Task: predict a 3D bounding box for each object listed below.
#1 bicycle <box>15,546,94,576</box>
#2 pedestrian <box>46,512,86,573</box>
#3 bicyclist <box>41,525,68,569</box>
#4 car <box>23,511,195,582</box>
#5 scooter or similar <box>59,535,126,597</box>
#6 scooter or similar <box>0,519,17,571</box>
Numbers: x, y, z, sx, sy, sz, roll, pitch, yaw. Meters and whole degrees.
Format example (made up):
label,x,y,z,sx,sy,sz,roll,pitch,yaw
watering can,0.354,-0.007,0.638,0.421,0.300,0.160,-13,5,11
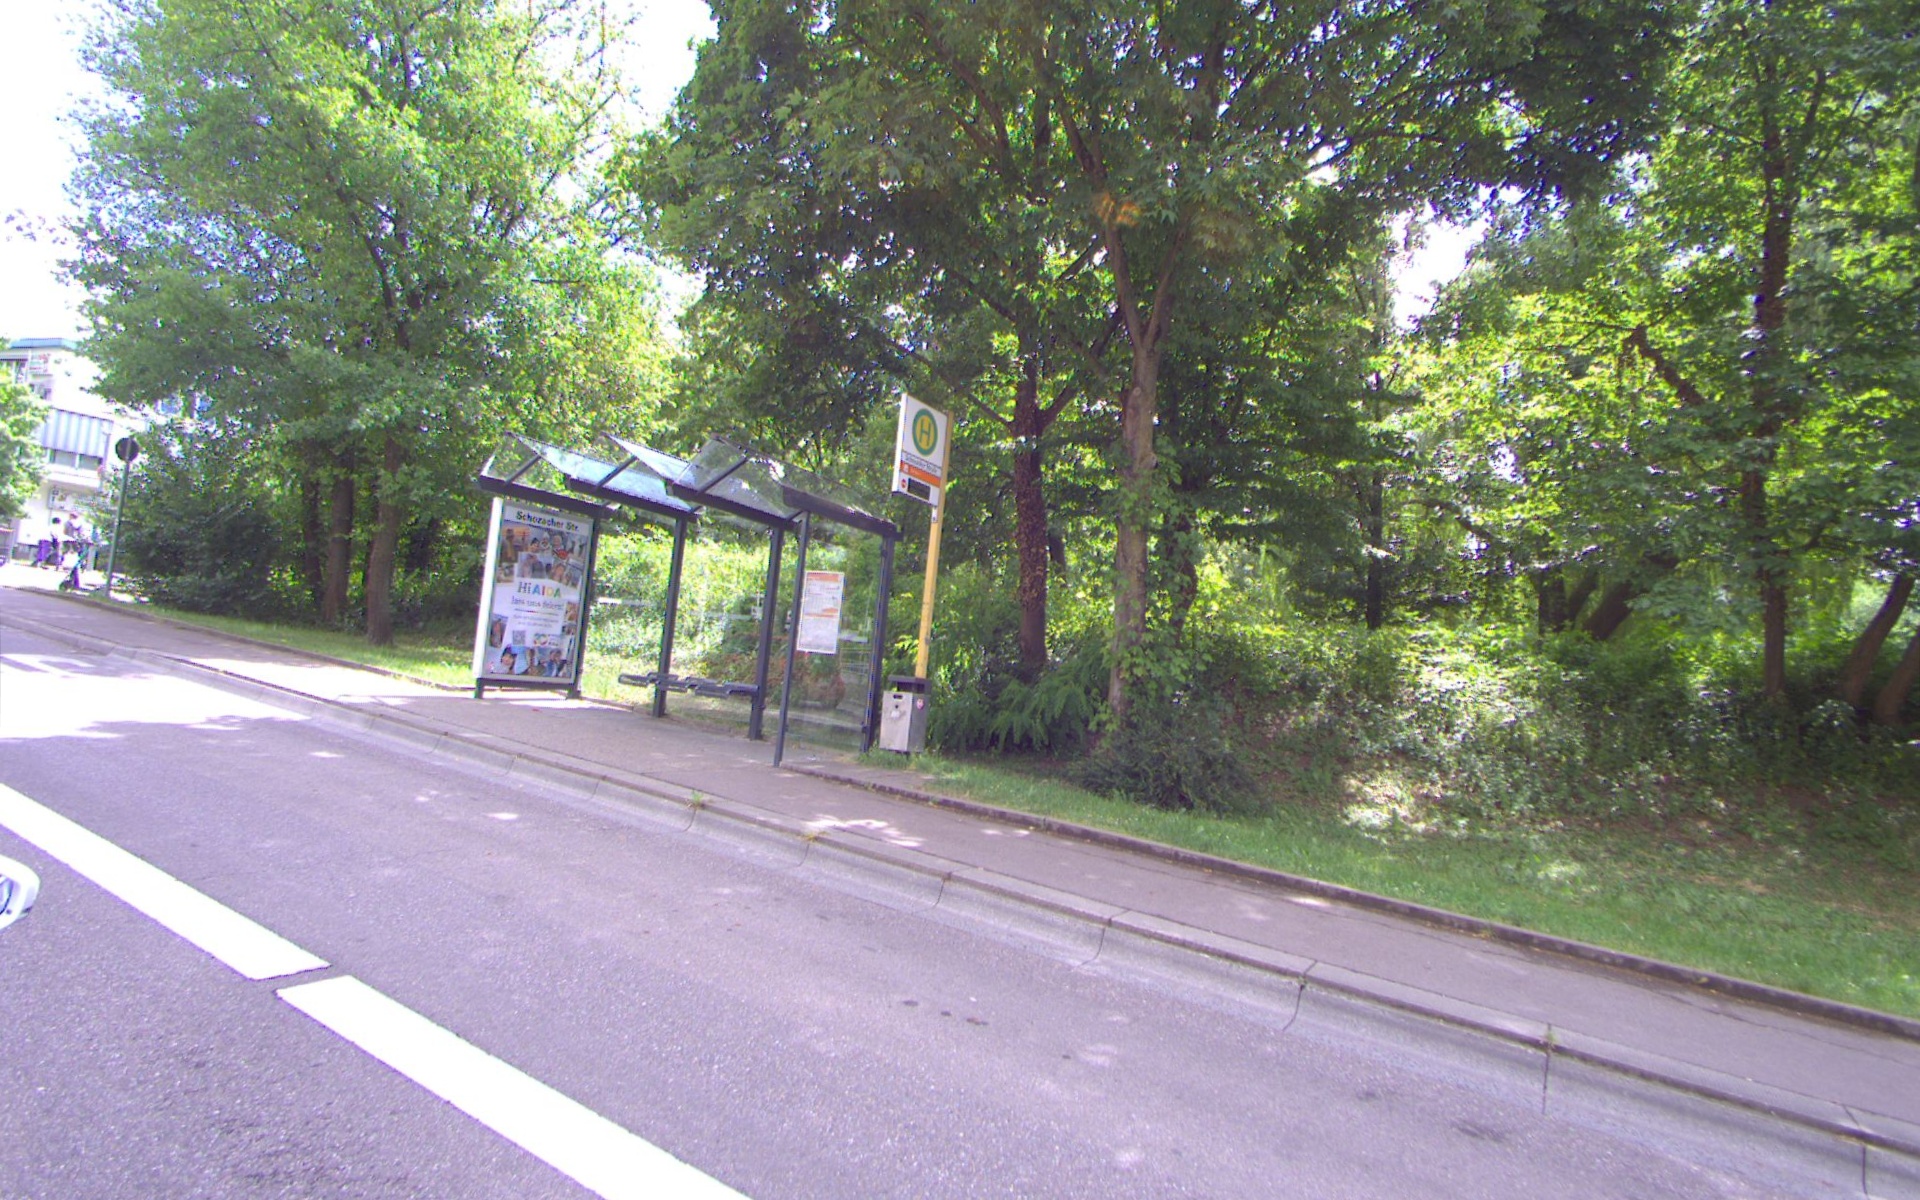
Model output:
label,x,y,z,sx,sy,sz,roll,pitch,yaw
bicycle,-25.560,-1.103,28.414,0.527,0.617,1.584,6,-2,42
pedestrian,-26.553,-1.703,29.894,0.653,1.733,0.458,8,-1,-32
bicyclist,-25.550,-1.502,28.374,0.496,1.170,0.398,6,-1,41
car,-33.012,-2.010,39.191,1.964,2.037,4.550,6,-2,24
scooter or similar,-20.175,-0.788,23.408,0.447,1.242,0.893,6,-6,32
scooter or similar,-24.940,-1.490,25.599,0.546,1.286,1.153,6,-3,34
